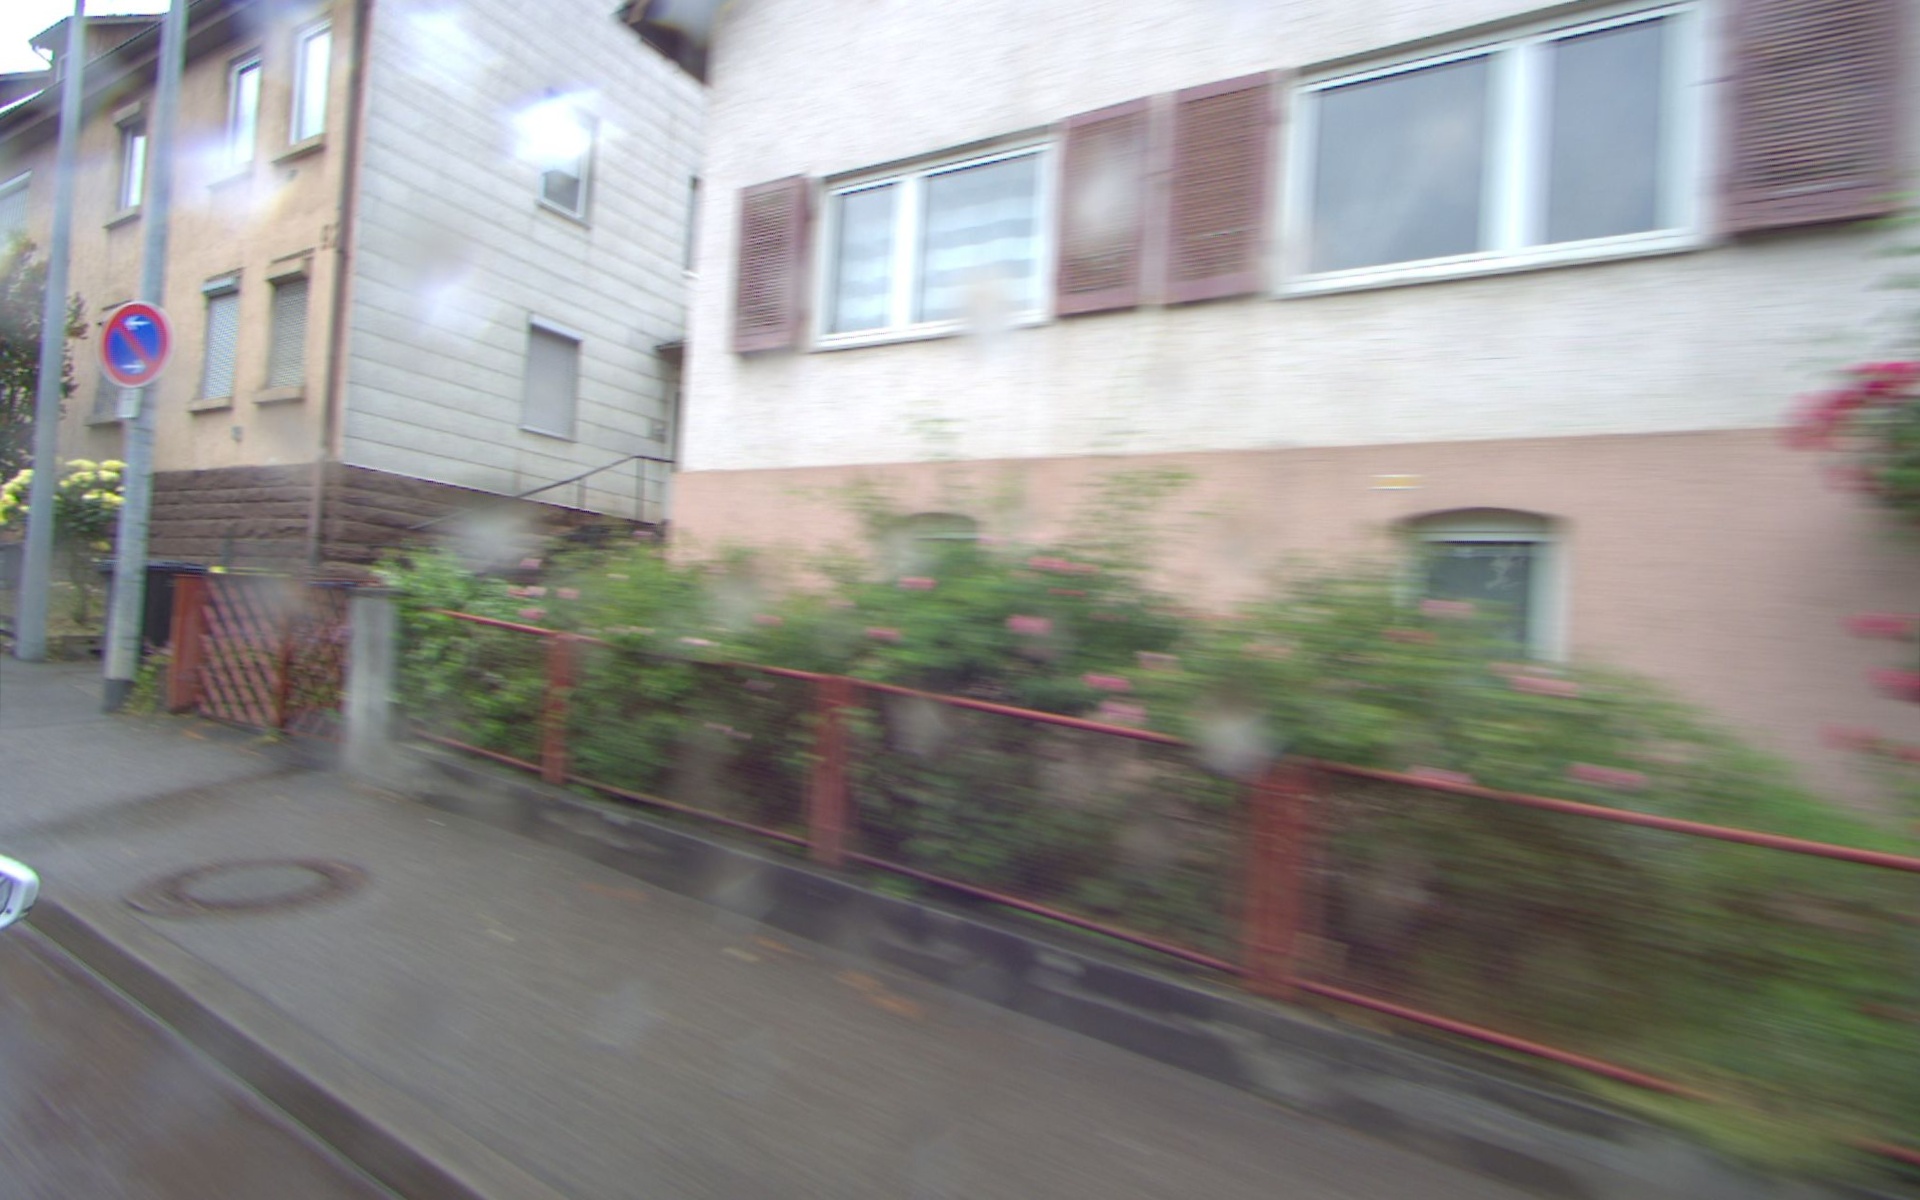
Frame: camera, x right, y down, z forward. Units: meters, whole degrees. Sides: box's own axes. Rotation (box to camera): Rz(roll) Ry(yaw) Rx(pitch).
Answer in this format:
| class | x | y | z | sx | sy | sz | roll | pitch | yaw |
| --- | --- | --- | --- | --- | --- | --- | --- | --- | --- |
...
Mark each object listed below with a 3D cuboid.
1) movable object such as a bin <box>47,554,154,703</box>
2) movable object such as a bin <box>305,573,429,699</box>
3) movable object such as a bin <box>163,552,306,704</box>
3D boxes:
| class | x | y | z | sx | sy | sz | roll | pitch | yaw |
| --- | --- | --- | --- | --- | --- | --- | --- | --- | --- |
| movable object such as a bin | -6.376 | 0.216 | 7.467 | 0.479 | 1.030 | 0.380 | 7 | -1 | 32 |
| movable object such as a bin | -5.132 | 0.288 | 8.710 | 0.778 | 0.981 | 0.609 | 7 | 5 | 29 |
| movable object such as a bin | -5.794 | 0.210 | 8.043 | 0.778 | 1.091 | 0.610 | 7 | 3 | 29 |
